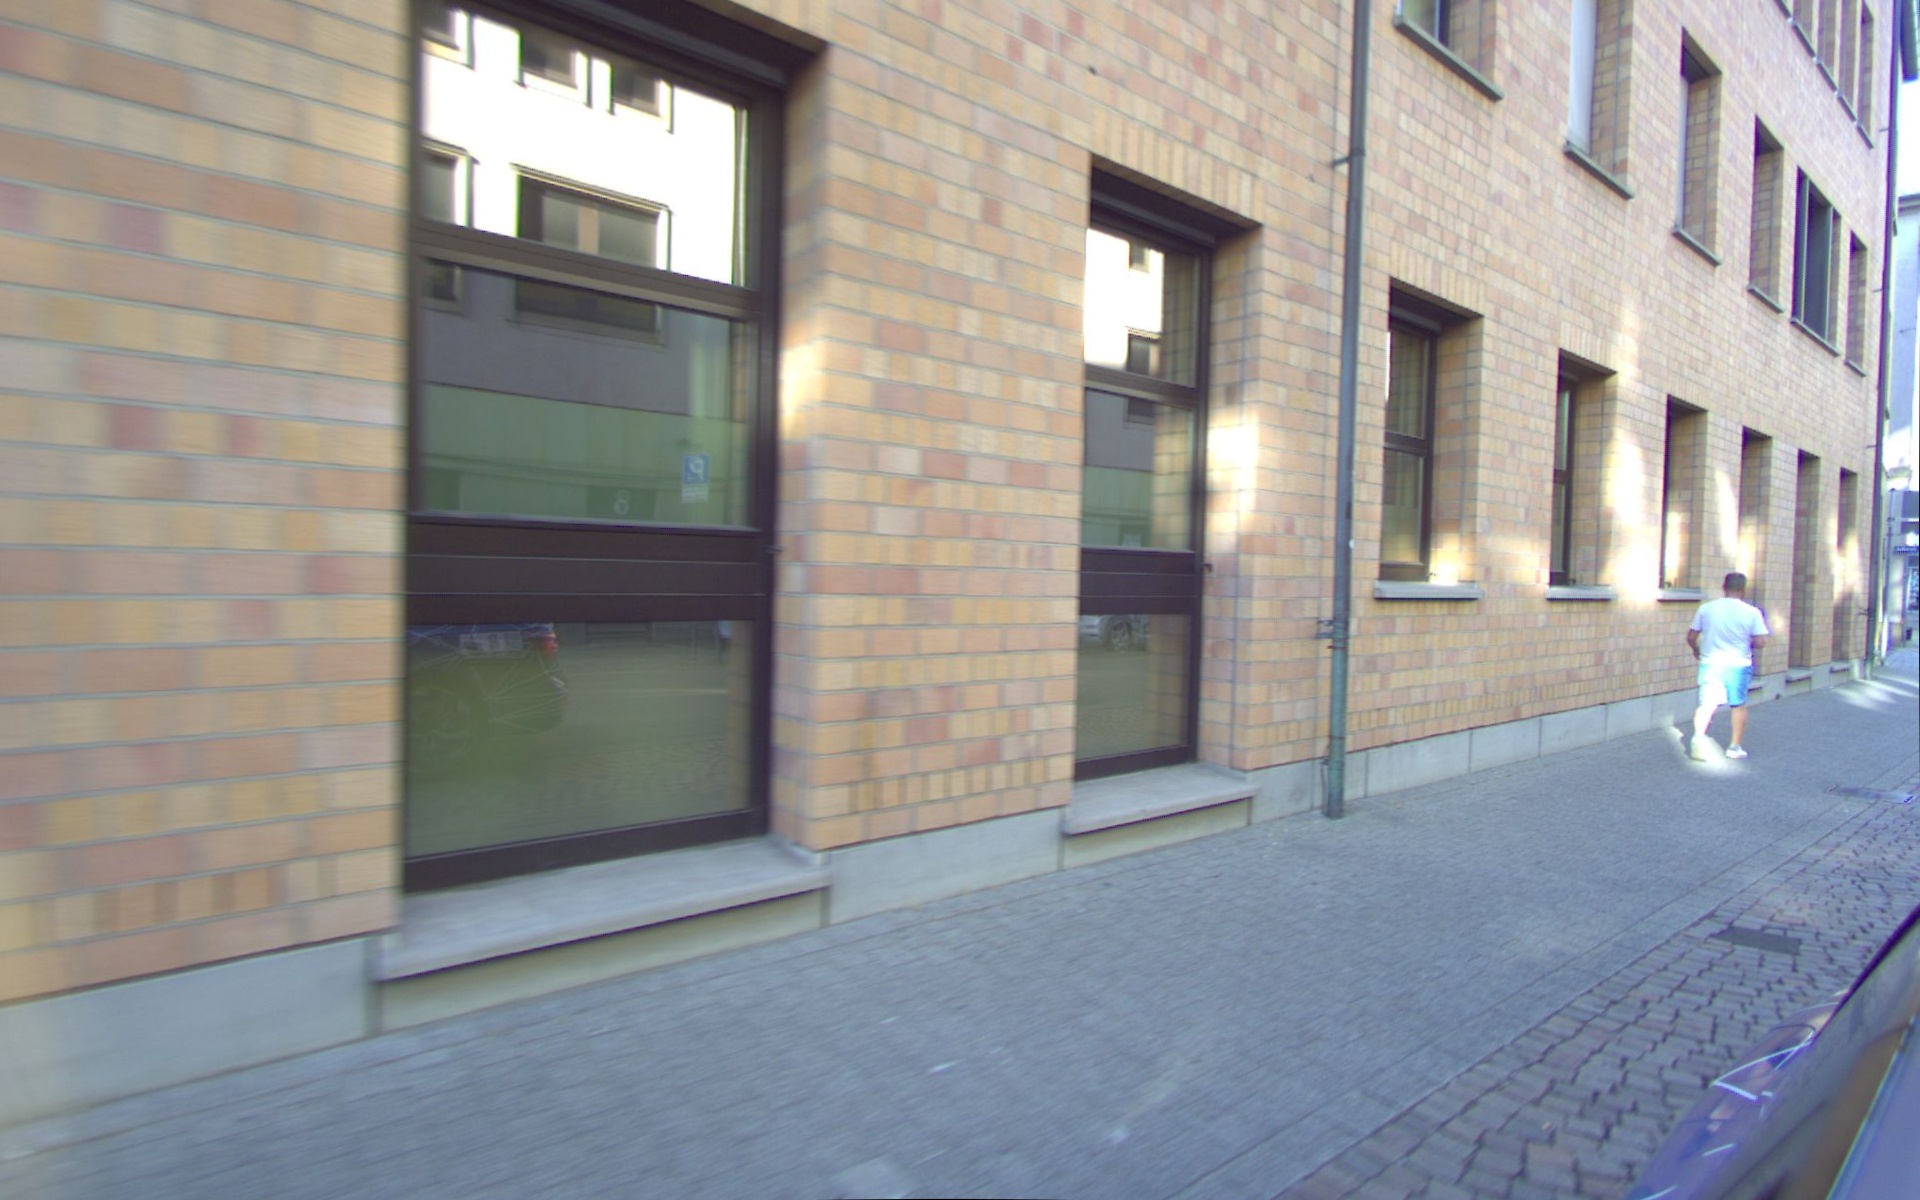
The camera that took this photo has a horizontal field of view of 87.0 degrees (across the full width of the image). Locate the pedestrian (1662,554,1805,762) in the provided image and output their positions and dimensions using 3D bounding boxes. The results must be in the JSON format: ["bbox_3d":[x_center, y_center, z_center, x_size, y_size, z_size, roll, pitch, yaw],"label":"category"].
[{"bbox_3d":[6.961,0.483,9.119,0.807,1.737,0.762,0,4,-39],"label":"pedestrian"}]
